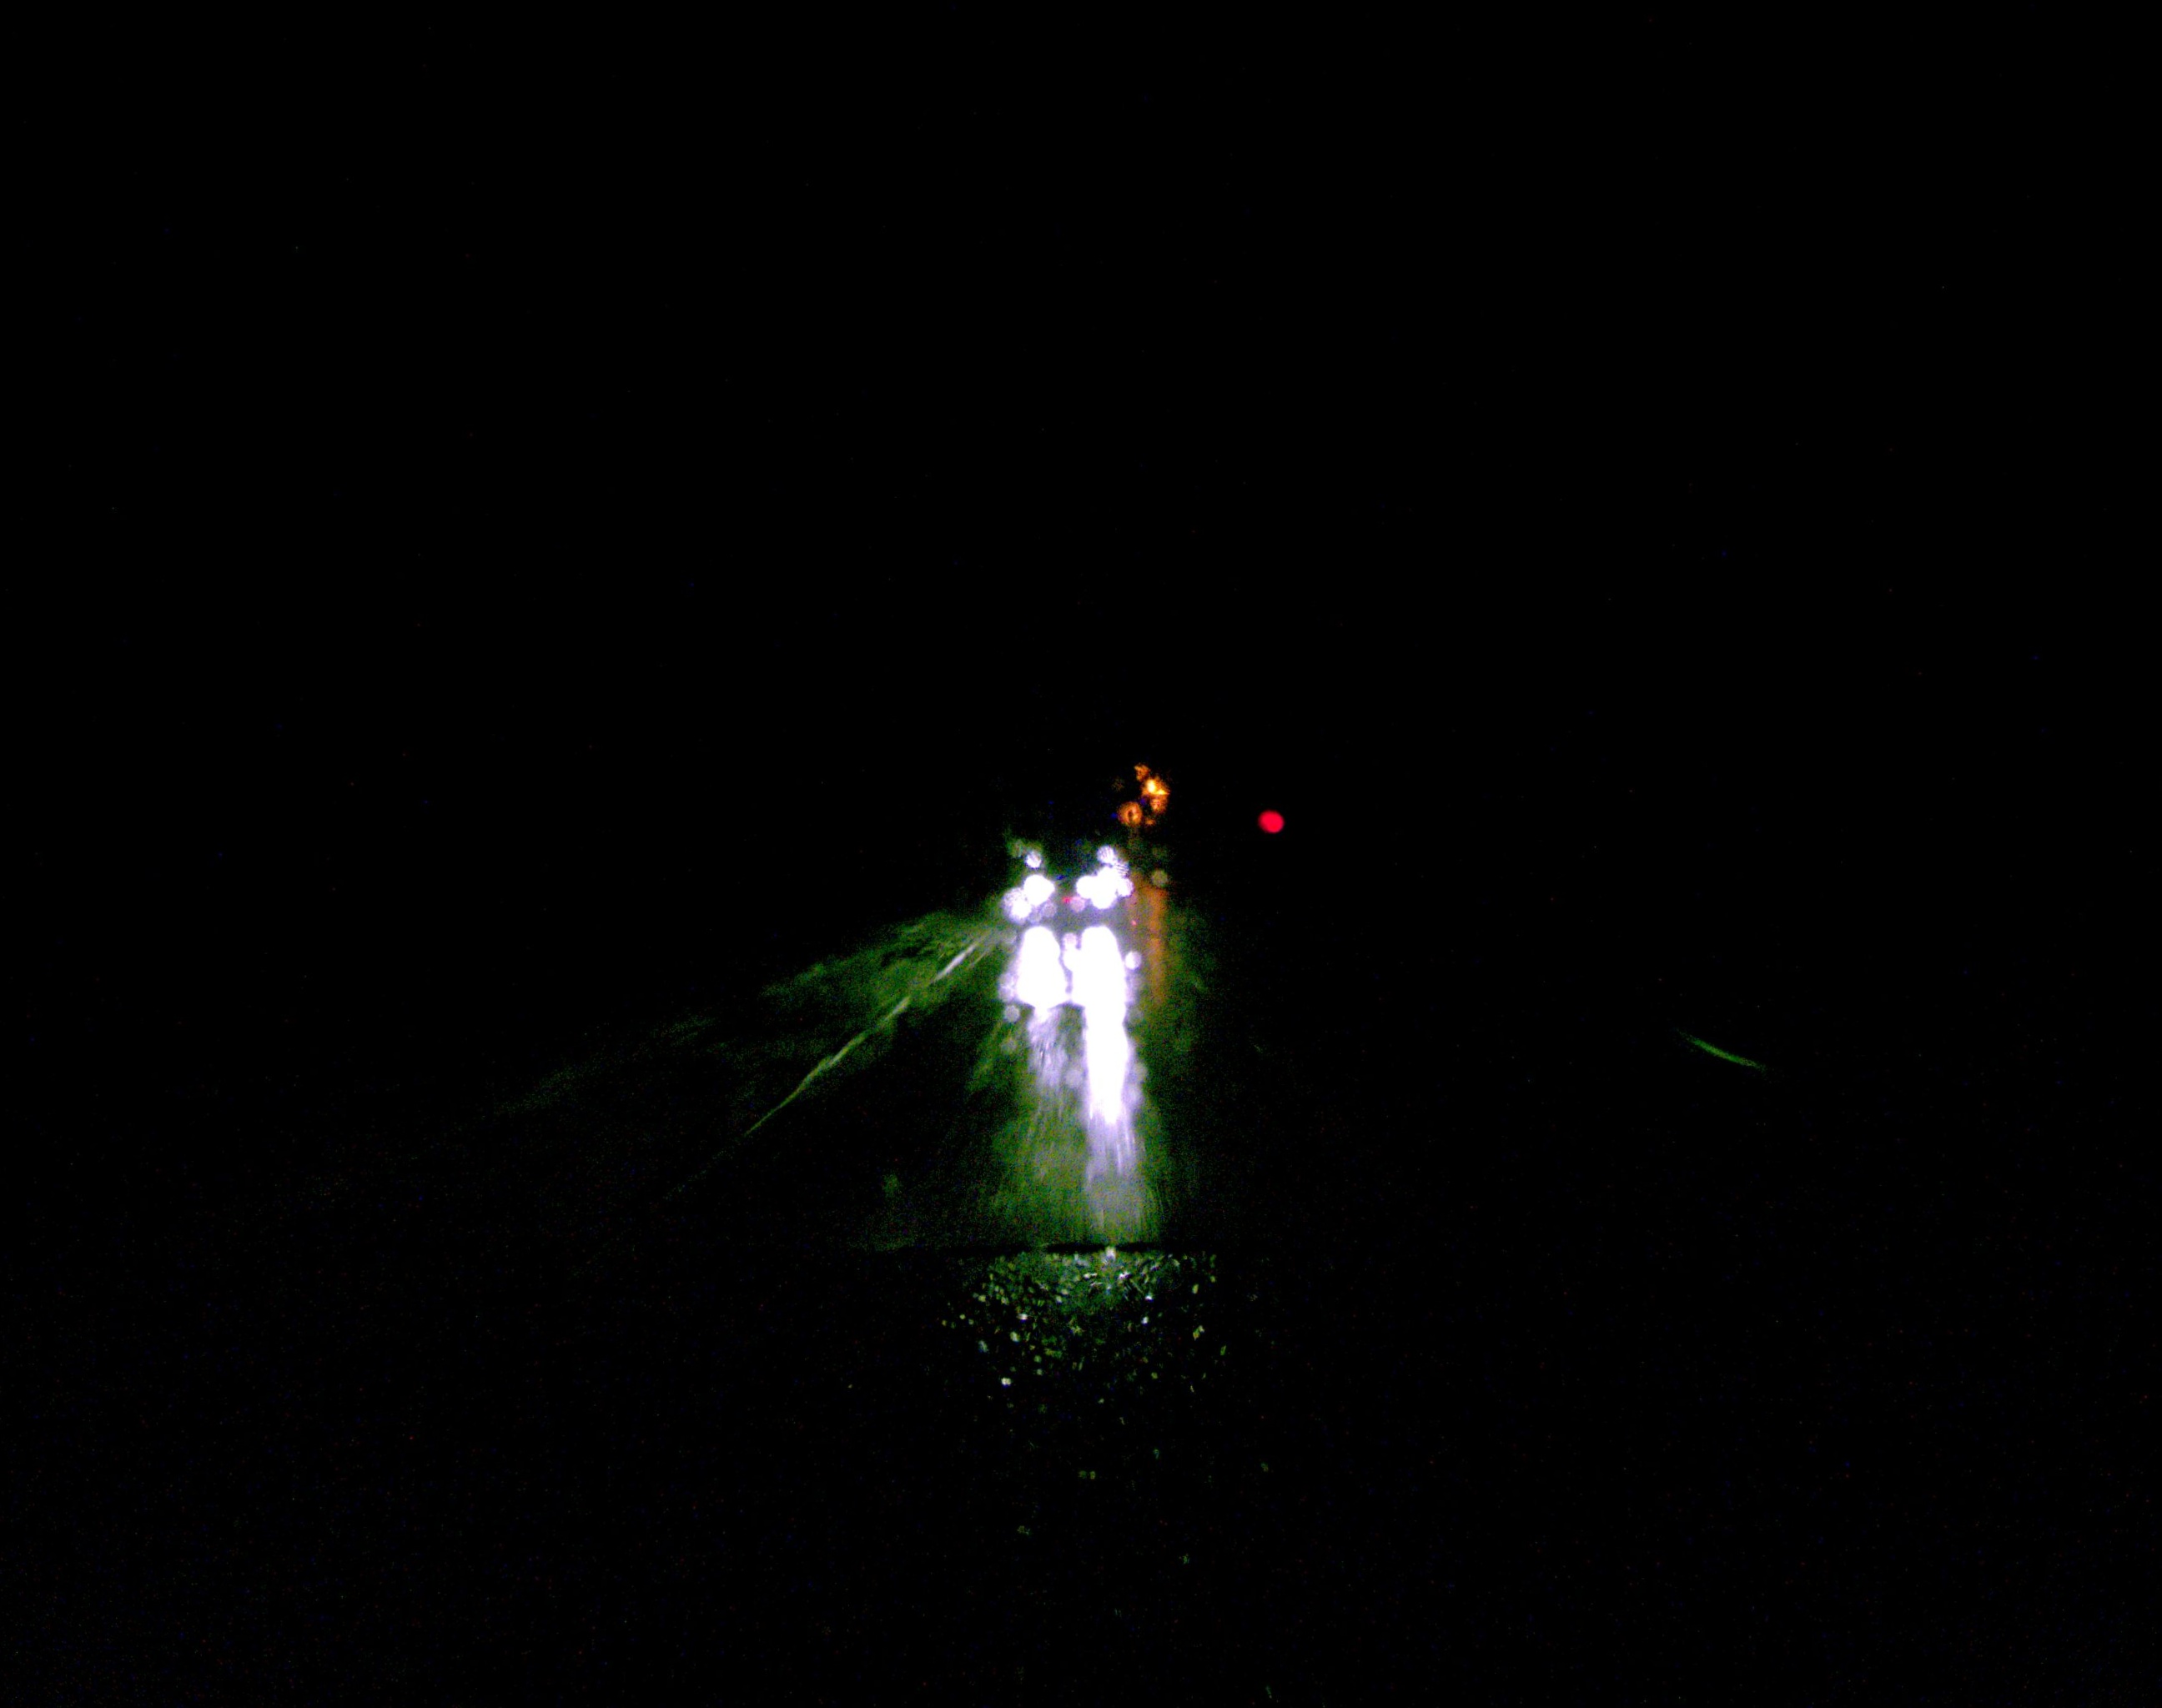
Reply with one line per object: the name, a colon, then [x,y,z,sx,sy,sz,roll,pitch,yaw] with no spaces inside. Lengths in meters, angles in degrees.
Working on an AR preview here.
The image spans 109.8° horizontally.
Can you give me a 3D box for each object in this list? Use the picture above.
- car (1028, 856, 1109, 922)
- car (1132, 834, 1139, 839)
car: [-0.242,0.884,20.902,1.944,1.580,4.776,-1,0,2]
car: [17.351,-5.640,240.802,1.918,1.467,4.203,0,2,6]
